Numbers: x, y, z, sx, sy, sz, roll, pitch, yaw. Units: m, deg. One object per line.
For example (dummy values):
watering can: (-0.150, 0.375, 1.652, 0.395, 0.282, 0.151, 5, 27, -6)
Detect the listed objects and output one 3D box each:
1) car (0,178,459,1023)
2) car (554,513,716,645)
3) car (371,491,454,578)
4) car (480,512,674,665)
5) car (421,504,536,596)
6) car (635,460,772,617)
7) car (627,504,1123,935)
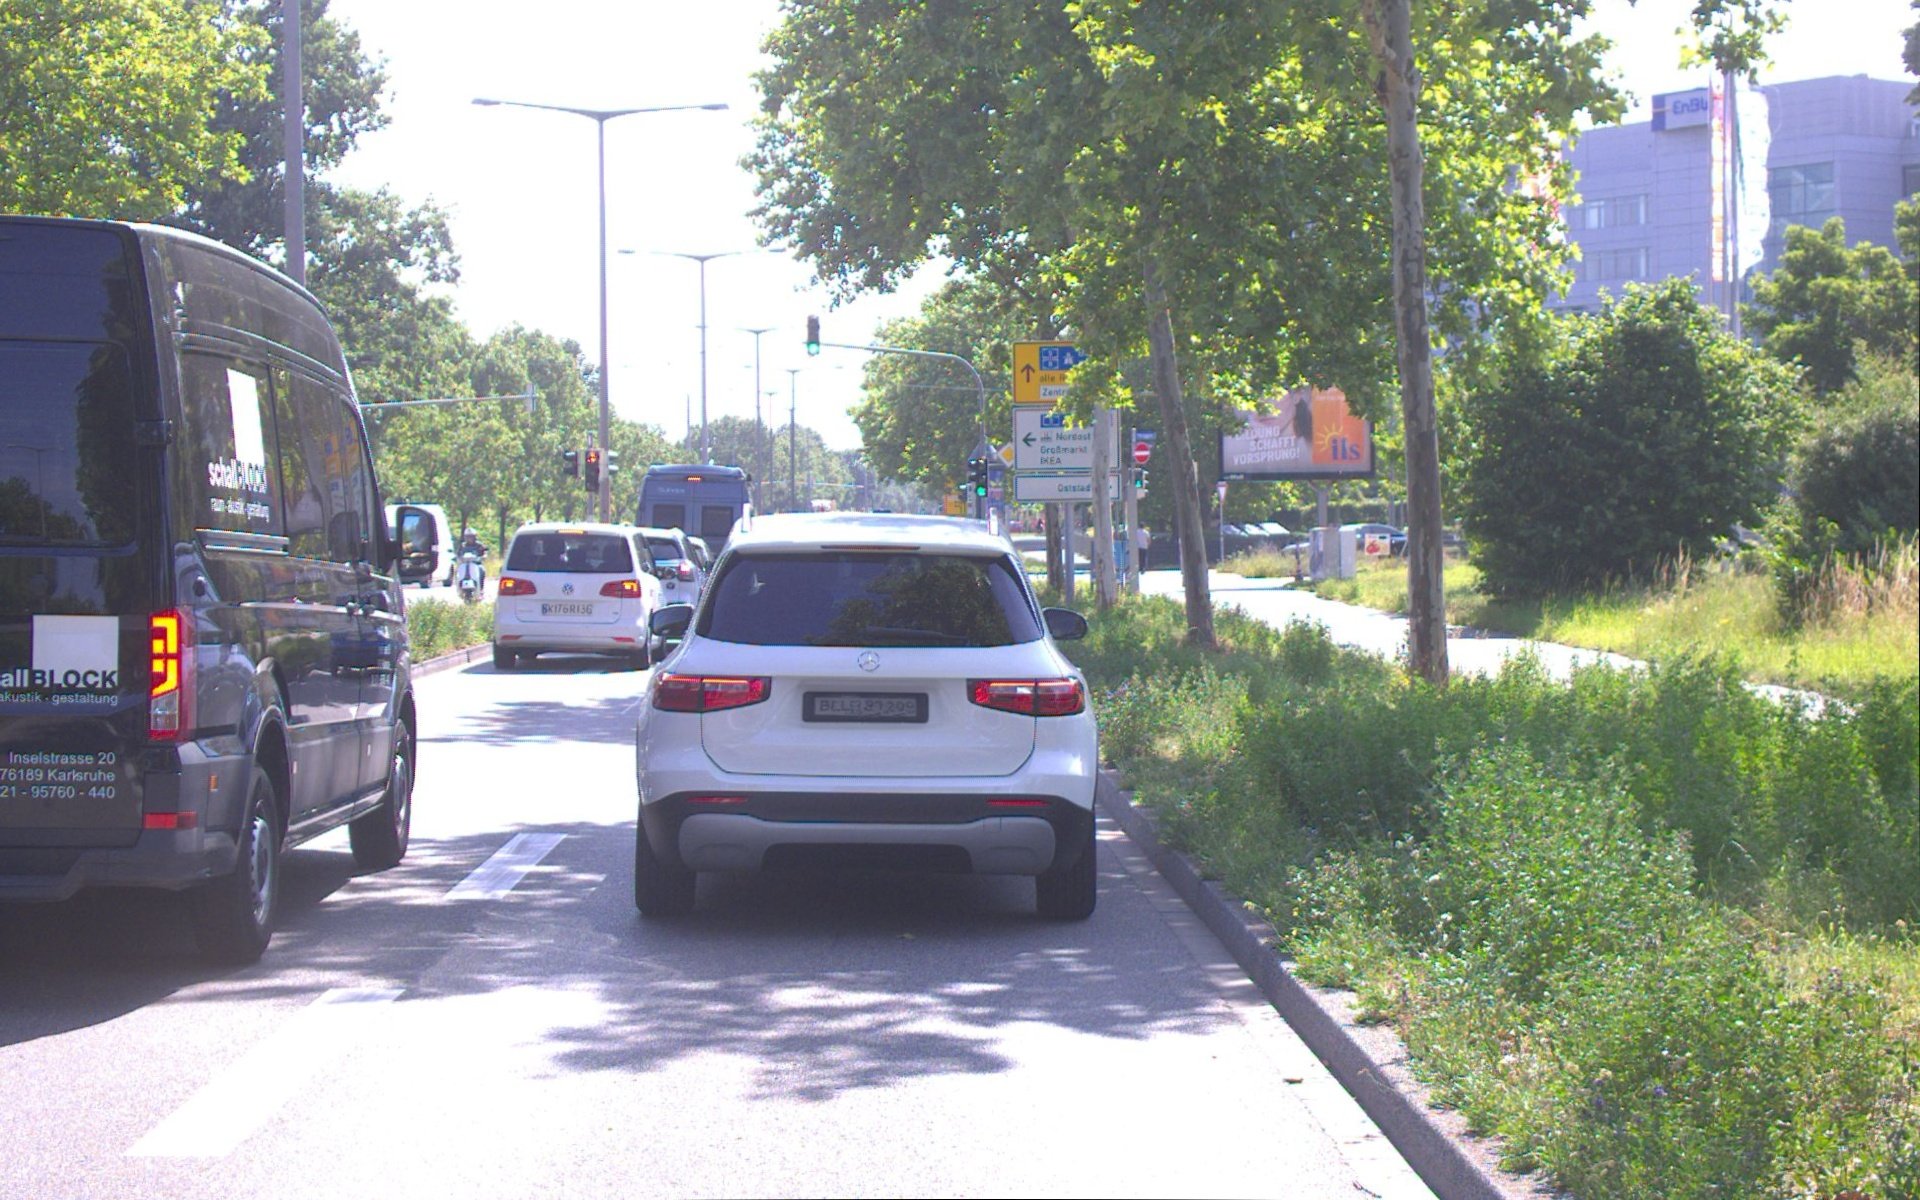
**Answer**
car: (-3.426, -0.055, 13.671, 2.016, 2.598, 6.169, 1, 1, -1)
car: (-4.238, -0.299, 45.308, 1.771, 1.641, 4.085, 1, 1, -1)
car: (-15.589, -1.882, 98.125, 1.993, 2.410, 5.140, 0, 1, -5)
car: (-4.330, -0.159, 39.412, 1.771, 1.641, 4.352, 1, 1, -1)
car: (-10.382, -1.080, 74.392, 1.993, 1.875, 4.000, 1, 1, -2)
car: (-4.531, -1.098, 61.474, 2.081, 2.647, 4.874, 1, 1, -1)
car: (-0.441, 0.407, 14.832, 1.853, 1.602, 4.001, 0, 1, -4)
